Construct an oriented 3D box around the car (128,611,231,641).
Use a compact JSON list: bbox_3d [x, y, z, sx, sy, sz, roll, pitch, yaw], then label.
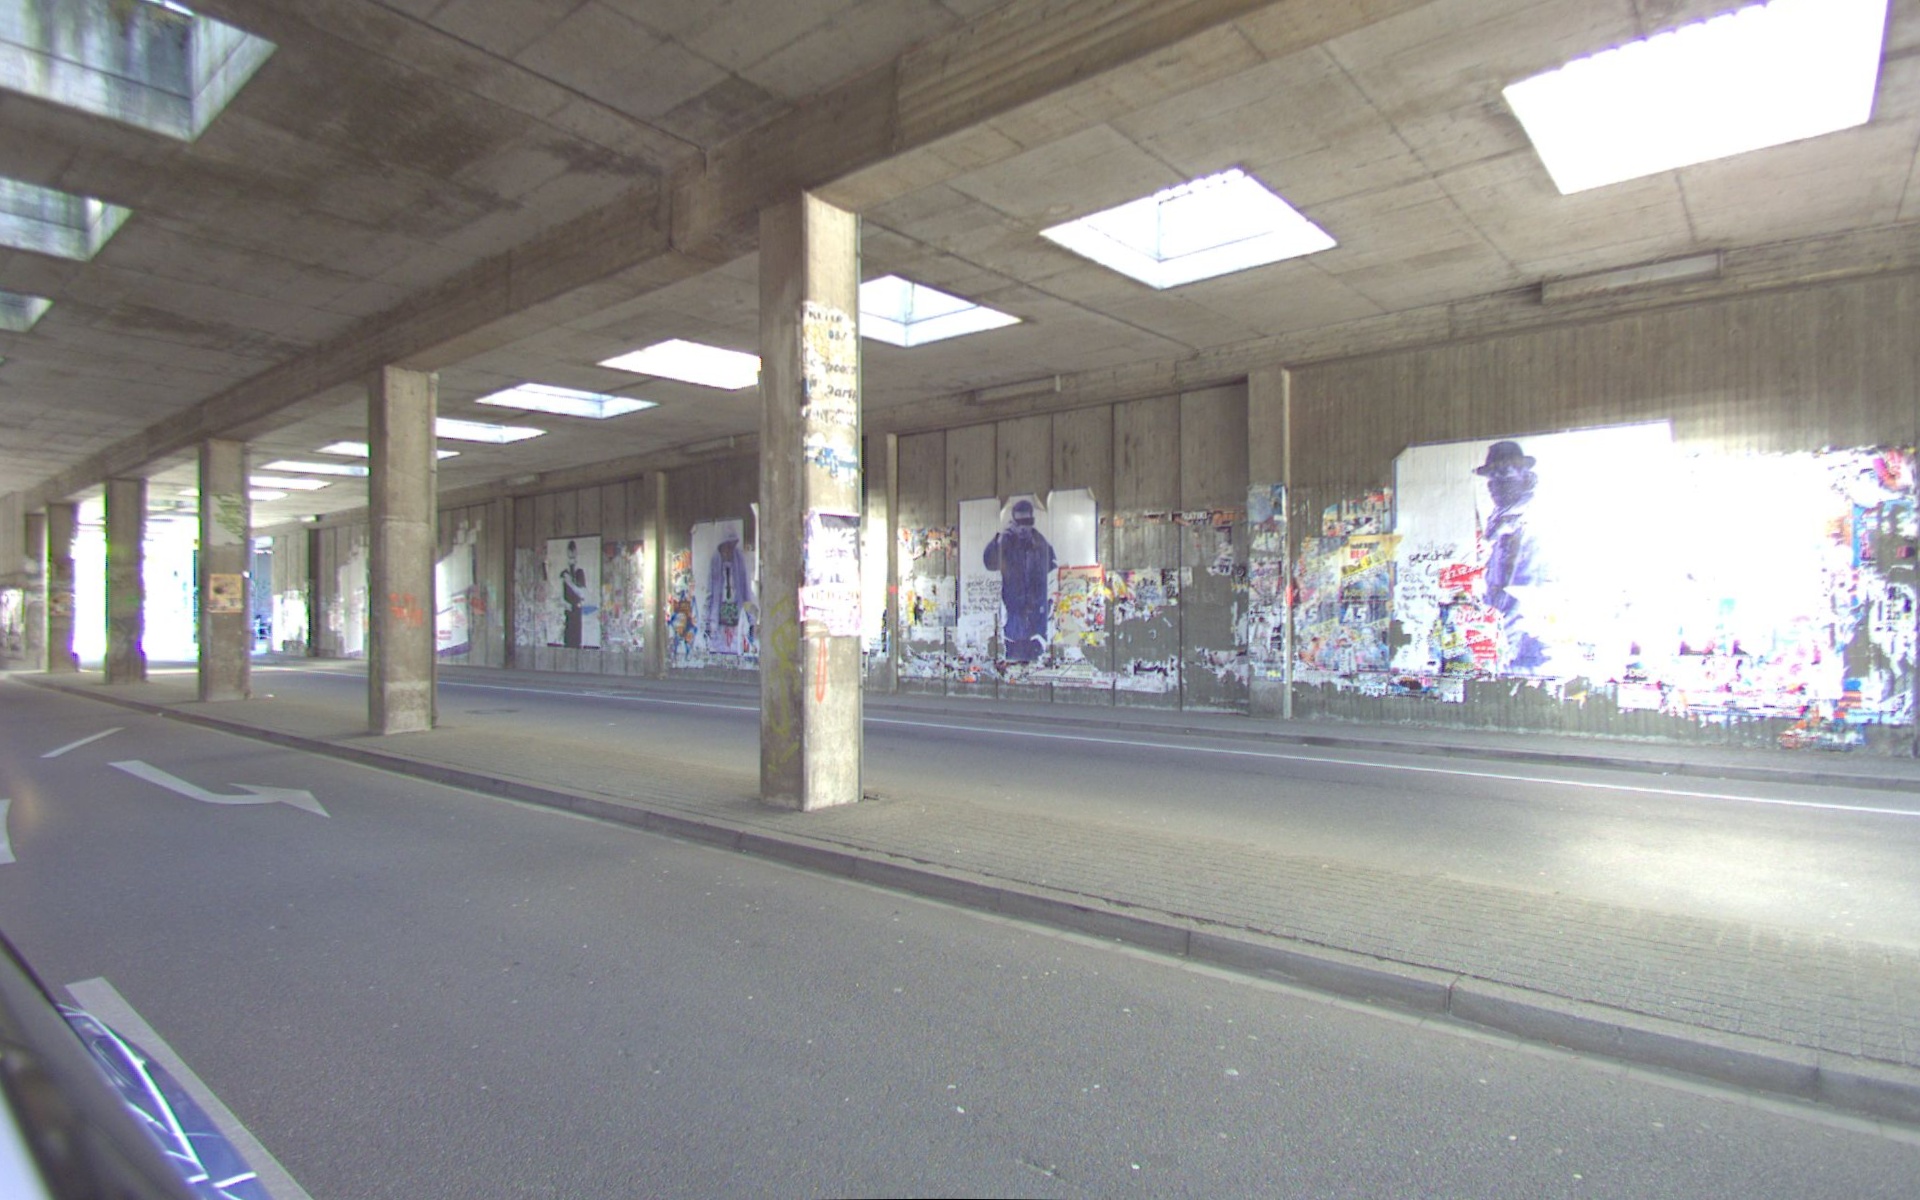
[{"bbox_3d":[-49.385,1.630,64.134,1.994,1.763,4.804,-1,0,33],"label":"car"}]
